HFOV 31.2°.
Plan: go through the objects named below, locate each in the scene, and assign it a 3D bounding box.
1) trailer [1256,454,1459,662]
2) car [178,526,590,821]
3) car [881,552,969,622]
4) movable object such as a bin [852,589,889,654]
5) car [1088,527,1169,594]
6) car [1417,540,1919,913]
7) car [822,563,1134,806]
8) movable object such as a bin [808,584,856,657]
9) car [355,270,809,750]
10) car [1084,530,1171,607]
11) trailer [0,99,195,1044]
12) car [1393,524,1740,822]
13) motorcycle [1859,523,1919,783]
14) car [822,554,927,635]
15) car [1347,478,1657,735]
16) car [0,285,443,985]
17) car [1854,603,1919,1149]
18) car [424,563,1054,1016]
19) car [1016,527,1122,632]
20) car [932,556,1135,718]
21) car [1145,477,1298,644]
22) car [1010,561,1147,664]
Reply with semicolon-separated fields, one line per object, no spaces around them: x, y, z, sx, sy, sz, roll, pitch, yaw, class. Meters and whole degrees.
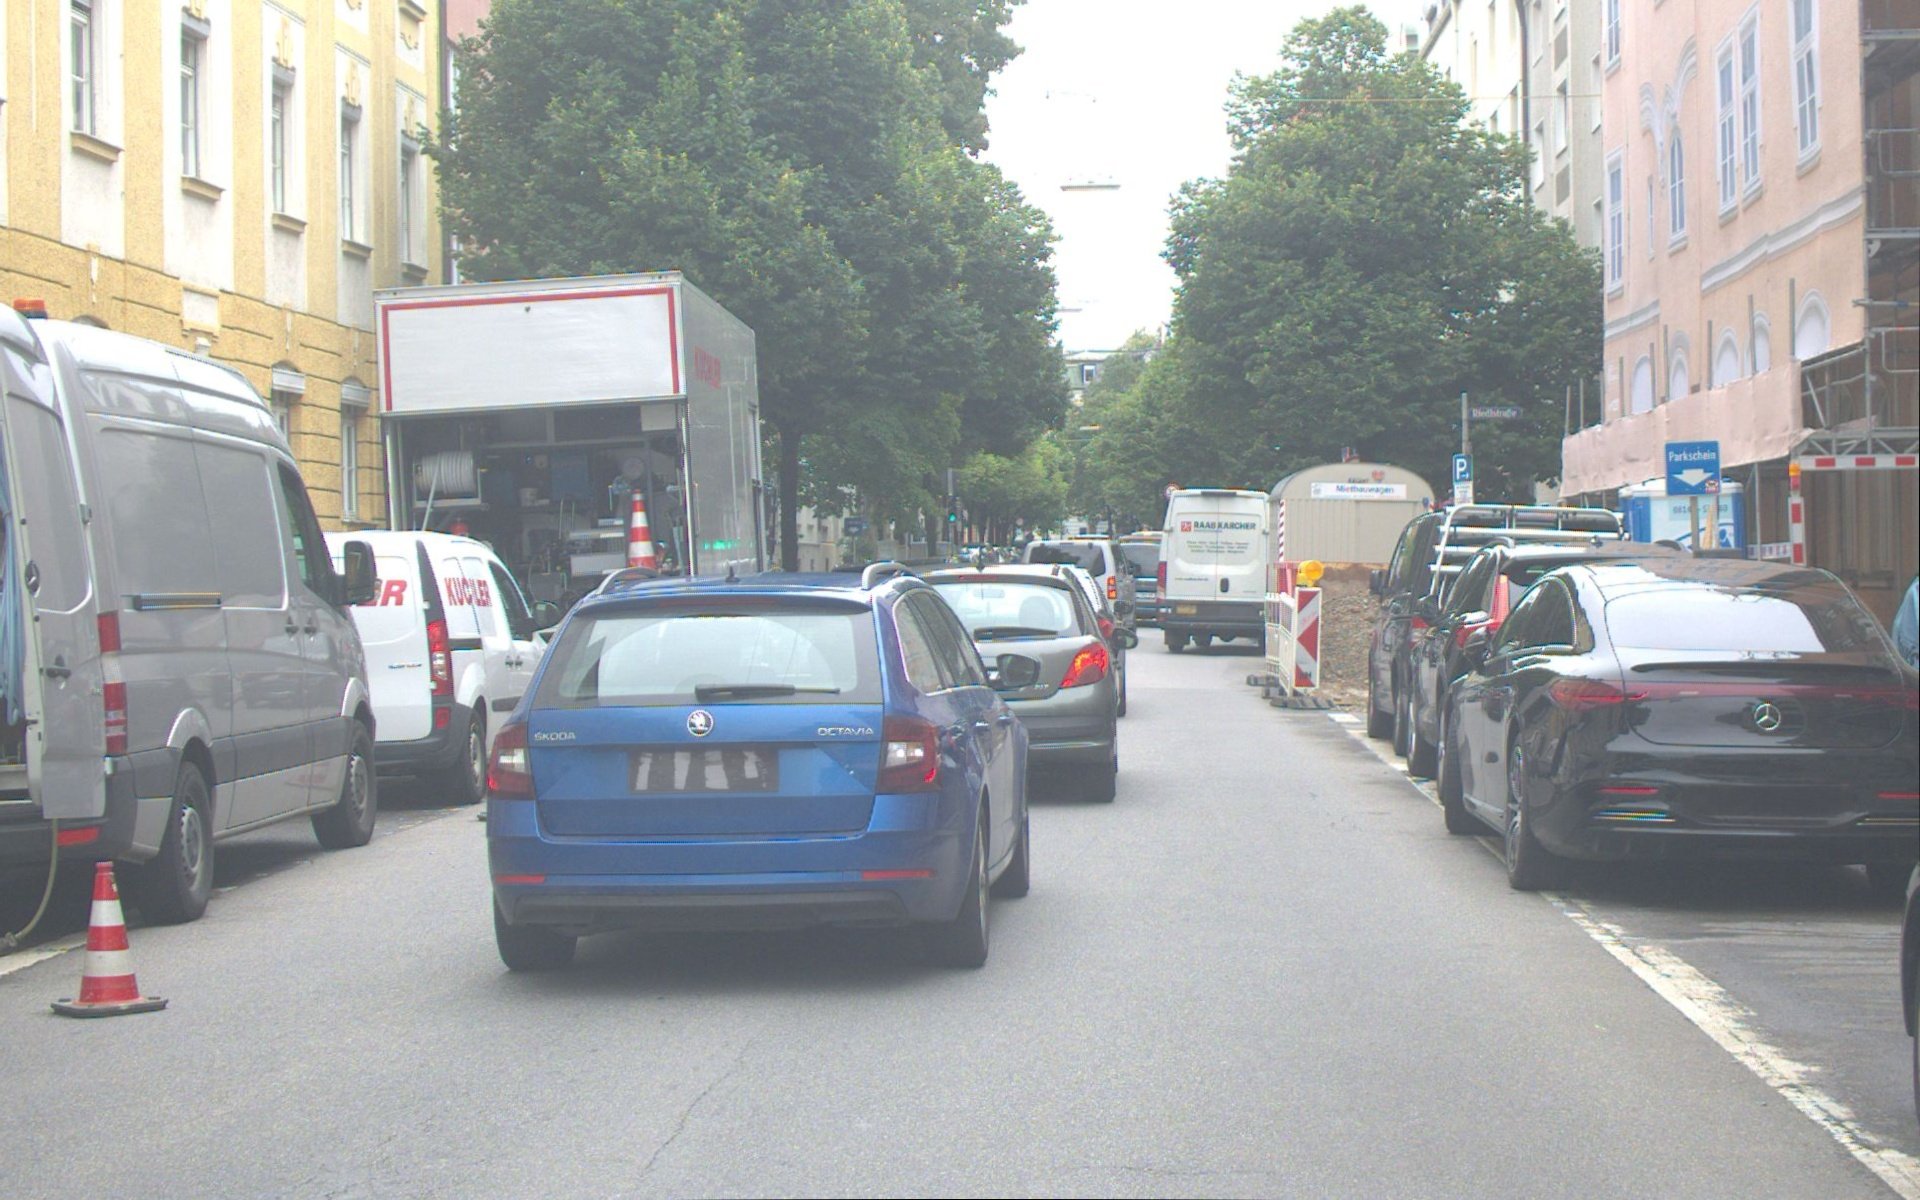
5.741;-0.596;50.587;2.502;2.830;6.900;1;0;3;trailer
-3.835;0.435;23.649;1.763;1.773;4.326;-3;0;4;car
-0.735;-0.304;75.428;1.812;1.473;4.000;0;1;1;car
-1.459;0.349;56.040;0.546;1.017;0.636;-3;1;0;movable object such as a bin
4.319;-1.031;88.144;2.008;1.647;4.347;1;1;3;car
3.519;0.483;17.098;1.931;1.548;5.636;0;1;2;car
0.199;0.490;22.237;1.741;1.417;3.663;-1;0;4;car
-2.080;0.337;56.012;0.711;1.144;0.636;-3;1;0;movable object such as a bin
-3.232;-0.759;31.962;2.813;3.804;8.723;-1;0;3;car
3.735;-0.721;76.466;1.867;1.647;4.347;1;1;3;car
-4.599;0.026;8.742;2.804;2.959;7.598;-4;1;5;trailer
3.812;0.411;22.263;1.694;1.671;4.407;2;0;4;car
6.050;0.292;20.754;0.871;1.499;1.997;0;1;5;motorcycle
-1.581;-0.128;64.728;1.812;1.473;4.000;0;1;1;car
4.367;0.123;28.469;2.083;1.914;5.139;1;-2;4;car
-4.239;0.157;16.235;2.056;2.578;6.876;-5;1;3;car
3.178;0.703;7.321;1.572;1.390;4.182;-1;0;2;car
-0.669;0.600;13.368;1.789;1.455;4.314;-1;1;5;car
2.053;-0.406;63.742;1.867;1.863;4.347;1;1;3;car
0.758;0.319;34.161;1.867;1.449;4.347;1;1;2;car
4.456;-0.642;57.762;2.113;2.654;5.498;1;0;9;car
1.691;0.149;49.229;1.867;1.343;4.347;1;1;2;car
